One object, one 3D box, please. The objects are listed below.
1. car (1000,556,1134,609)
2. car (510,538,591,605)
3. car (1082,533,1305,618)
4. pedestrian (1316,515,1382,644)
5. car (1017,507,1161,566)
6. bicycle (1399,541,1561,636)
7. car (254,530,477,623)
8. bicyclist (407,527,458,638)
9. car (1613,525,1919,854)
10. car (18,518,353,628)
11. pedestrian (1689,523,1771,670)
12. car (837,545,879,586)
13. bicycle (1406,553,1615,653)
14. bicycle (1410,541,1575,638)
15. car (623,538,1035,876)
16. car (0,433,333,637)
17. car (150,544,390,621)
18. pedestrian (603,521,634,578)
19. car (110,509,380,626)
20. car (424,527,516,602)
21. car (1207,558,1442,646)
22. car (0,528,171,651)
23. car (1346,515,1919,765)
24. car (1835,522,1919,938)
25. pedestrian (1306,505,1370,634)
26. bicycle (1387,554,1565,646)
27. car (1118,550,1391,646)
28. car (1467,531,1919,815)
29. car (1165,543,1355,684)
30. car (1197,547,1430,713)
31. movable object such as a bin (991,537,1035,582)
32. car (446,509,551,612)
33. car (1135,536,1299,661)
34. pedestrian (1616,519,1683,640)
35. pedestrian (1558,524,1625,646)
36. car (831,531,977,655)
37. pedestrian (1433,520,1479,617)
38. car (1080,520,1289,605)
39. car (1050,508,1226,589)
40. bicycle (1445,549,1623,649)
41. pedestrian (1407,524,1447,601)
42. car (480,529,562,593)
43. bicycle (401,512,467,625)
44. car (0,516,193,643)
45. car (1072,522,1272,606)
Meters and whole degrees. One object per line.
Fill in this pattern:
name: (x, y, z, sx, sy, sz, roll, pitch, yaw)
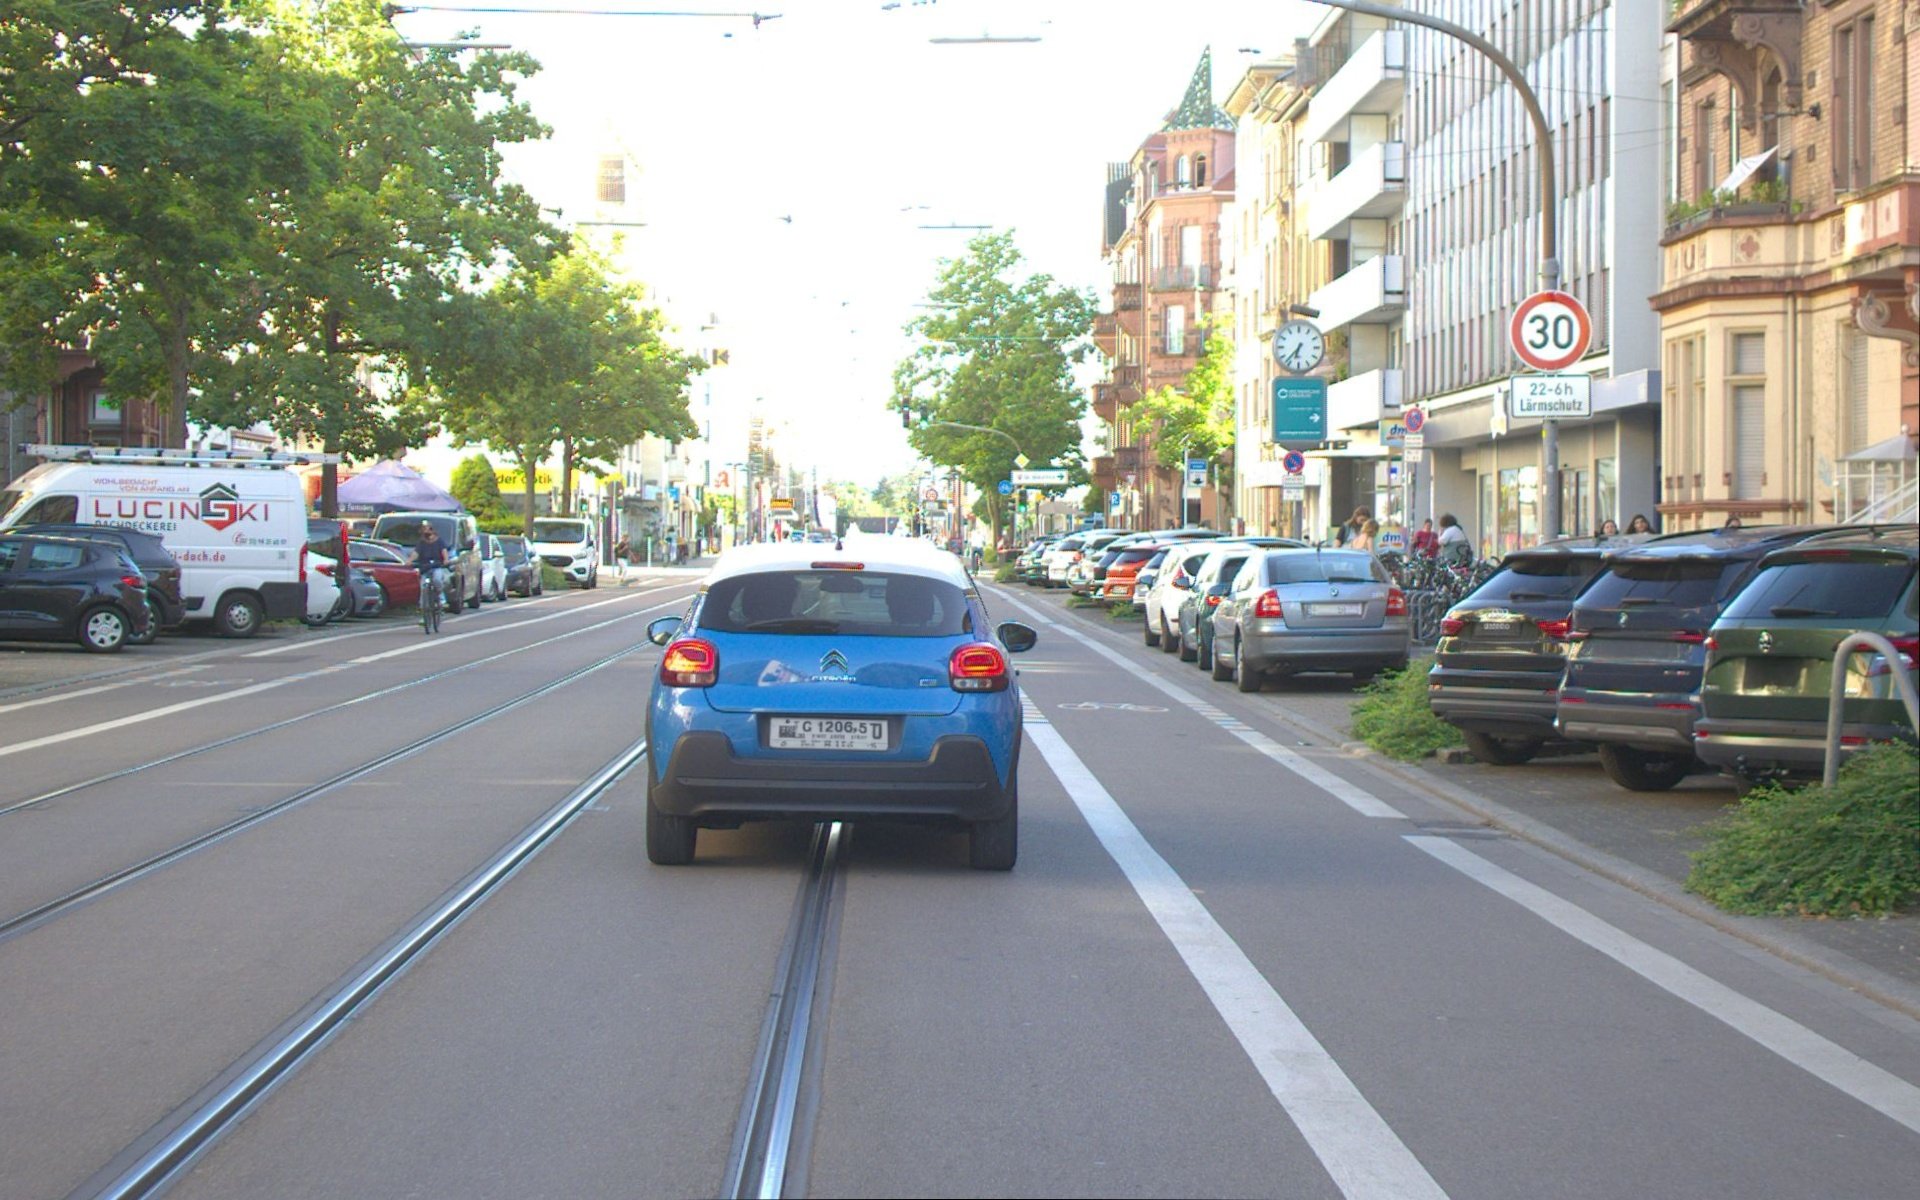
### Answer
car: (3.270, -0.527, 104.931, 3.653, 1.529, 1.789, 1, 1, -20)
car: (-11.608, -0.823, 97.734, 1.831, 1.841, 4.214, 1, 1, -1)
car: (4.383, -0.455, 64.460, 3.718, 1.515, 1.968, 1, 1, -34)
pedestrian: (4.930, -0.264, 43.626, 0.711, 1.601, 0.654, 1, 1, -2)
car: (3.685, -1.816, 98.575, 3.653, 1.568, 1.861, 1, 1, -20)
bicycle: (6.915, -0.155, 45.797, 2.019, 1.217, 0.664, 1, 1, -1)
car: (-10.935, -0.434, 63.203, 3.722, 1.617, 1.789, 1, 1, -22)
bicyclist: (-8.037, -0.270, 52.407, 0.634, 1.675, 0.727, 1, 1, -1)
car: (5.737, 0.442, 18.382, 3.986, 1.590, 1.960, 1, 1, -25)
car: (-12.017, -0.416, 53.466, 4.755, 1.612, 1.712, 1, 1, -33)
pedestrian: (8.525, -0.038, 38.098, 0.711, 1.601, 0.654, 1, 1, -2)
car: (-3.658, -1.250, 123.808, 1.423, 1.427, 3.139, 1, 1, -1)
bicycle: (7.041, 0.036, 44.002, 2.538, 1.217, 0.664, 1, 1, -1)
bicycle: (6.959, -0.143, 44.950, 2.019, 1.217, 0.664, 1, 1, -1)
car: (-0.609, 0.442, 16.743, 1.762, 1.436, 3.557, 1, 1, -1)
car: (-11.776, -0.892, 48.635, 5.370, 2.739, 1.806, 1, 1, -30)
car: (-11.946, -0.300, 59.527, 3.796, 1.261, 1.516, 1, 1, -26)
pedestrian: (-10.392, -1.537, 104.551, 0.729, 1.720, 0.628, 1, 1, -25)
car: (-11.659, -0.525, 56.075, 3.986, 1.810, 1.713, 1, 1, -26)
car: (-11.212, -0.822, 78.813, 1.747, 1.612, 4.411, 1, 1, -4)
car: (6.499, 0.038, 61.208, 3.774, 1.482, 1.839, 1, 1, -30)
car: (-12.019, -0.159, 43.161, 3.986, 1.484, 1.807, 1, 1, -17)
car: (5.011, 0.261, 23.979, 4.303, 1.590, 1.982, 1, 1, -33)
car: (5.772, 0.534, 14.010, 4.319, 1.590, 2.045, 1, 1, -38)
pedestrian: (4.925, -0.398, 44.872, 0.711, 1.666, 0.654, 1, 1, -2)
bicycle: (7.163, -0.010, 47.813, 2.358, 1.217, 0.664, 1, 1, 3)
car: (4.935, -0.030, 57.429, 4.439, 1.503, 1.536, 1, 1, -30)
car: (5.382, 0.419, 21.063, 3.986, 1.590, 2.088, 1, 1, -25)
car: (3.584, 0.127, 41.688, 1.873, 1.590, 4.000, 1, 1, -1)
car: (3.620, 0.264, 35.992, 1.873, 1.590, 4.719, 1, 1, -1)
movable object such as a bin: (1.751, -1.346, 114.418, 1.394, 1.478, 1.655, 1, 1, -1)
car: (-9.343, -0.810, 69.926, 1.747, 1.967, 5.241, 1, 1, -4)
car: (3.467, -0.048, 46.991, 1.873, 1.590, 4.000, 1, 1, -1)
pedestrian: (9.292, -0.282, 46.351, 0.711, 1.601, 0.654, 1, 1, -2)
pedestrian: (8.495, -0.208, 46.269, 0.712, 1.601, 0.654, -2, 1, -2)
car: (-0.757, -0.118, 46.971, 1.873, 1.590, 4.000, 1, 1, -1)
pedestrian: (9.101, -0.585, 63.129, 0.692, 1.750, 0.678, 1, 1, -1)
car: (4.568, -0.756, 69.802, 3.718, 1.646, 2.048, 1, 1, -34)
car: (3.785, -1.089, 72.966, 3.442, 1.634, 1.684, 1, 1, -37)
bicycle: (7.064, -0.017, 42.370, 2.056, 1.217, 0.664, 0, 1, -2)
pedestrian: (9.831, -0.789, 72.391, 0.692, 1.582, 0.678, 1, 1, -1)
car: (-10.753, -0.958, 84.340, 1.747, 1.481, 4.043, 1, 1, -4)
bicycle: (-8.056, -0.487, 52.688, 0.680, 1.673, 2.097, 1, 1, -1)
car: (-12.346, -0.286, 45.423, 3.986, 1.612, 1.713, 1, 1, -26)
car: (4.128, -0.705, 66.869, 3.441, 1.550, 1.824, 1, 1, -32)
